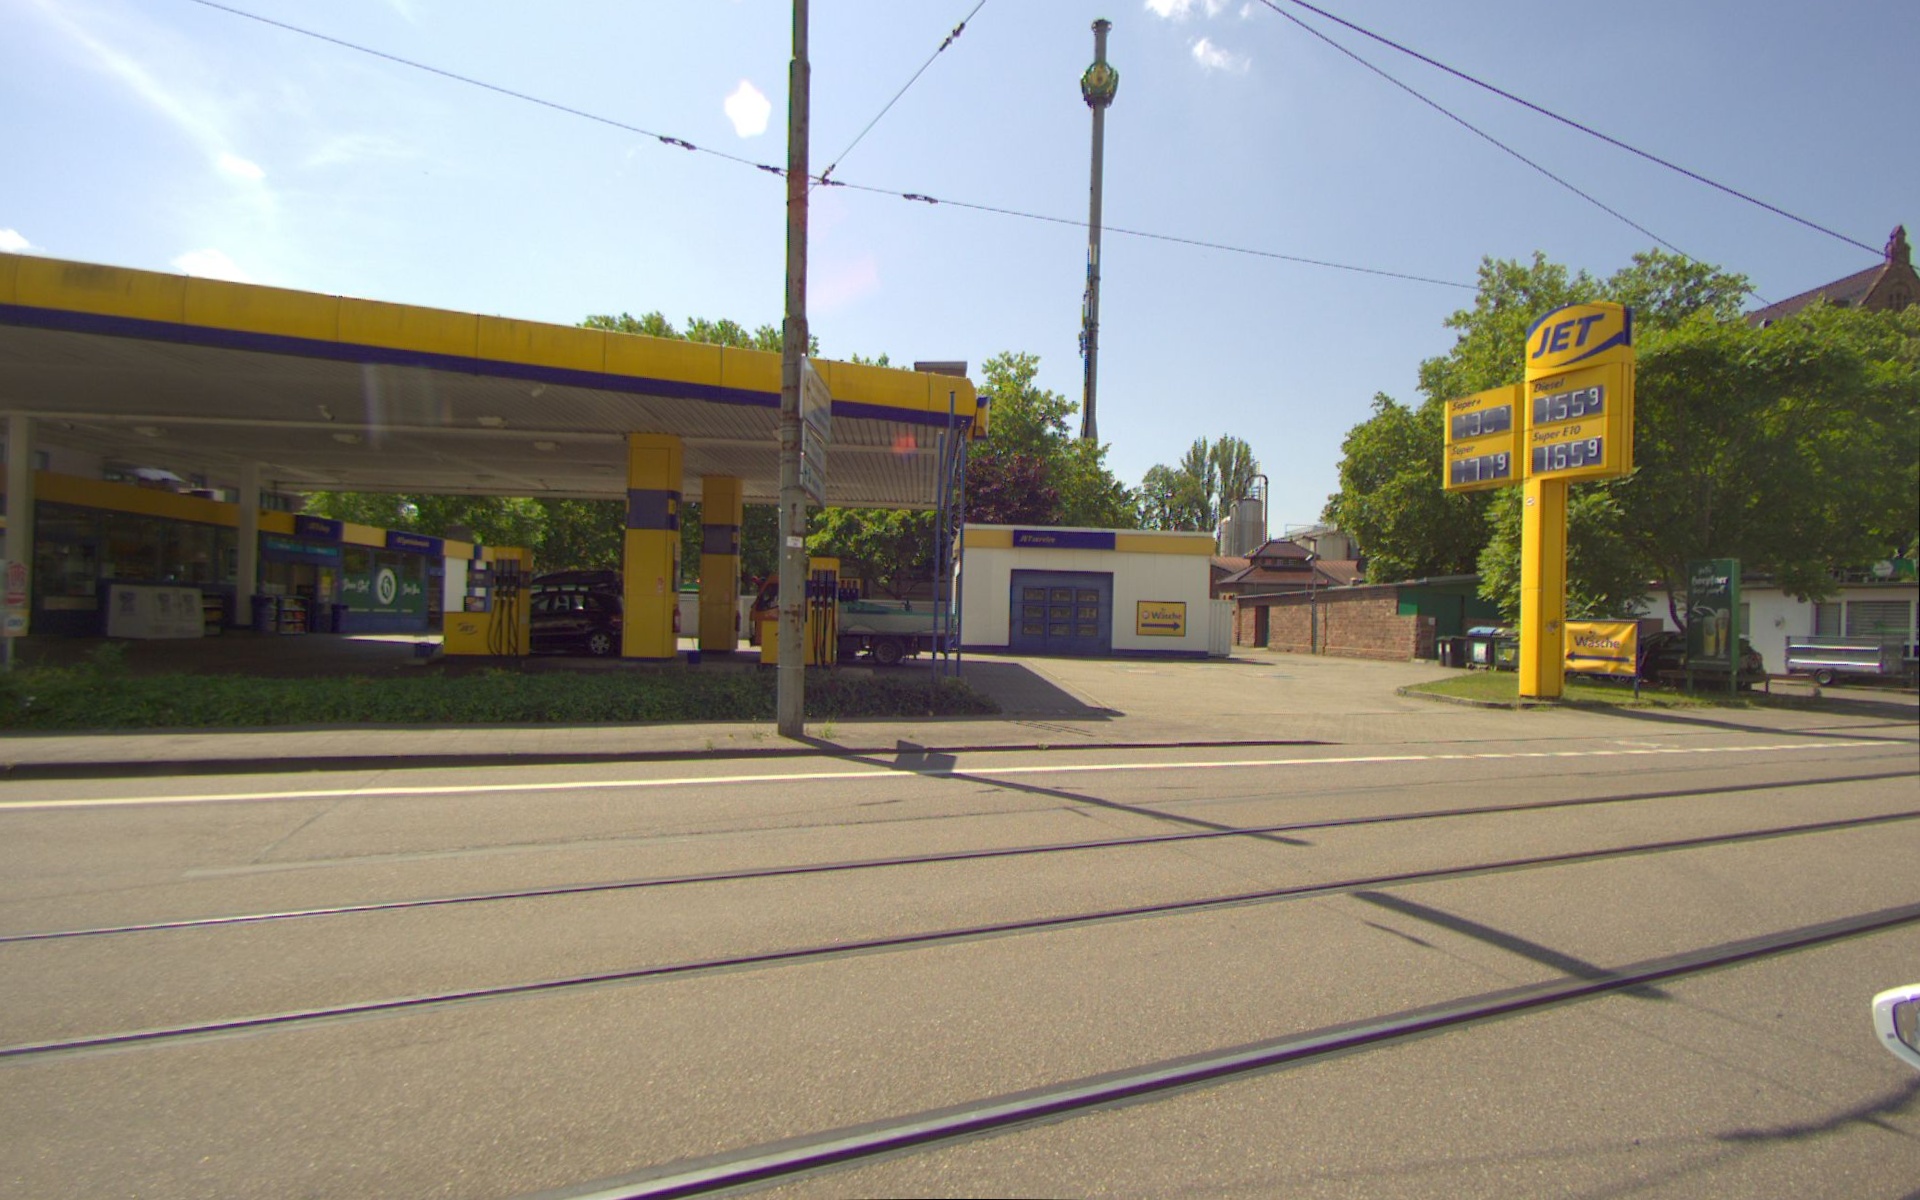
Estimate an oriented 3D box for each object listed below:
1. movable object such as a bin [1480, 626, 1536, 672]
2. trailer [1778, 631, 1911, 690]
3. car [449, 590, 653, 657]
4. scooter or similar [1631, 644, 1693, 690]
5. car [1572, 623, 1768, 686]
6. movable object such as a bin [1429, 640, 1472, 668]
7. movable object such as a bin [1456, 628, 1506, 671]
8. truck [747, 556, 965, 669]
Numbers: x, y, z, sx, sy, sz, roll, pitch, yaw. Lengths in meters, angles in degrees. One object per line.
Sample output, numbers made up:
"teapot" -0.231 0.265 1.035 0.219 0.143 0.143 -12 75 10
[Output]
"movable object such as a bin" 17.183 1.522 31.515 0.749 1.372 1.339 2 -1 -28
"trailer" 28.489 1.936 32.429 1.599 1.726 2.821 2 -1 -25
"car" -10.209 0.592 25.296 4.255 1.498 2.001 2 -1 2
"scooter or similar" 19.525 1.848 27.967 1.333 1.189 0.406 2 -1 17
"car" 20.699 1.559 29.505 4.247 1.611 2.001 1 -1 18
"movable object such as a bin" 17.144 1.881 35.159 0.744 0.885 1.347 2 -1 -6
"movable object such as a bin" 17.160 1.623 33.118 0.745 1.372 1.345 2 -1 -14
"truck" -2.535 0.314 25.358 5.099 2.531 2.001 2 -1 4
